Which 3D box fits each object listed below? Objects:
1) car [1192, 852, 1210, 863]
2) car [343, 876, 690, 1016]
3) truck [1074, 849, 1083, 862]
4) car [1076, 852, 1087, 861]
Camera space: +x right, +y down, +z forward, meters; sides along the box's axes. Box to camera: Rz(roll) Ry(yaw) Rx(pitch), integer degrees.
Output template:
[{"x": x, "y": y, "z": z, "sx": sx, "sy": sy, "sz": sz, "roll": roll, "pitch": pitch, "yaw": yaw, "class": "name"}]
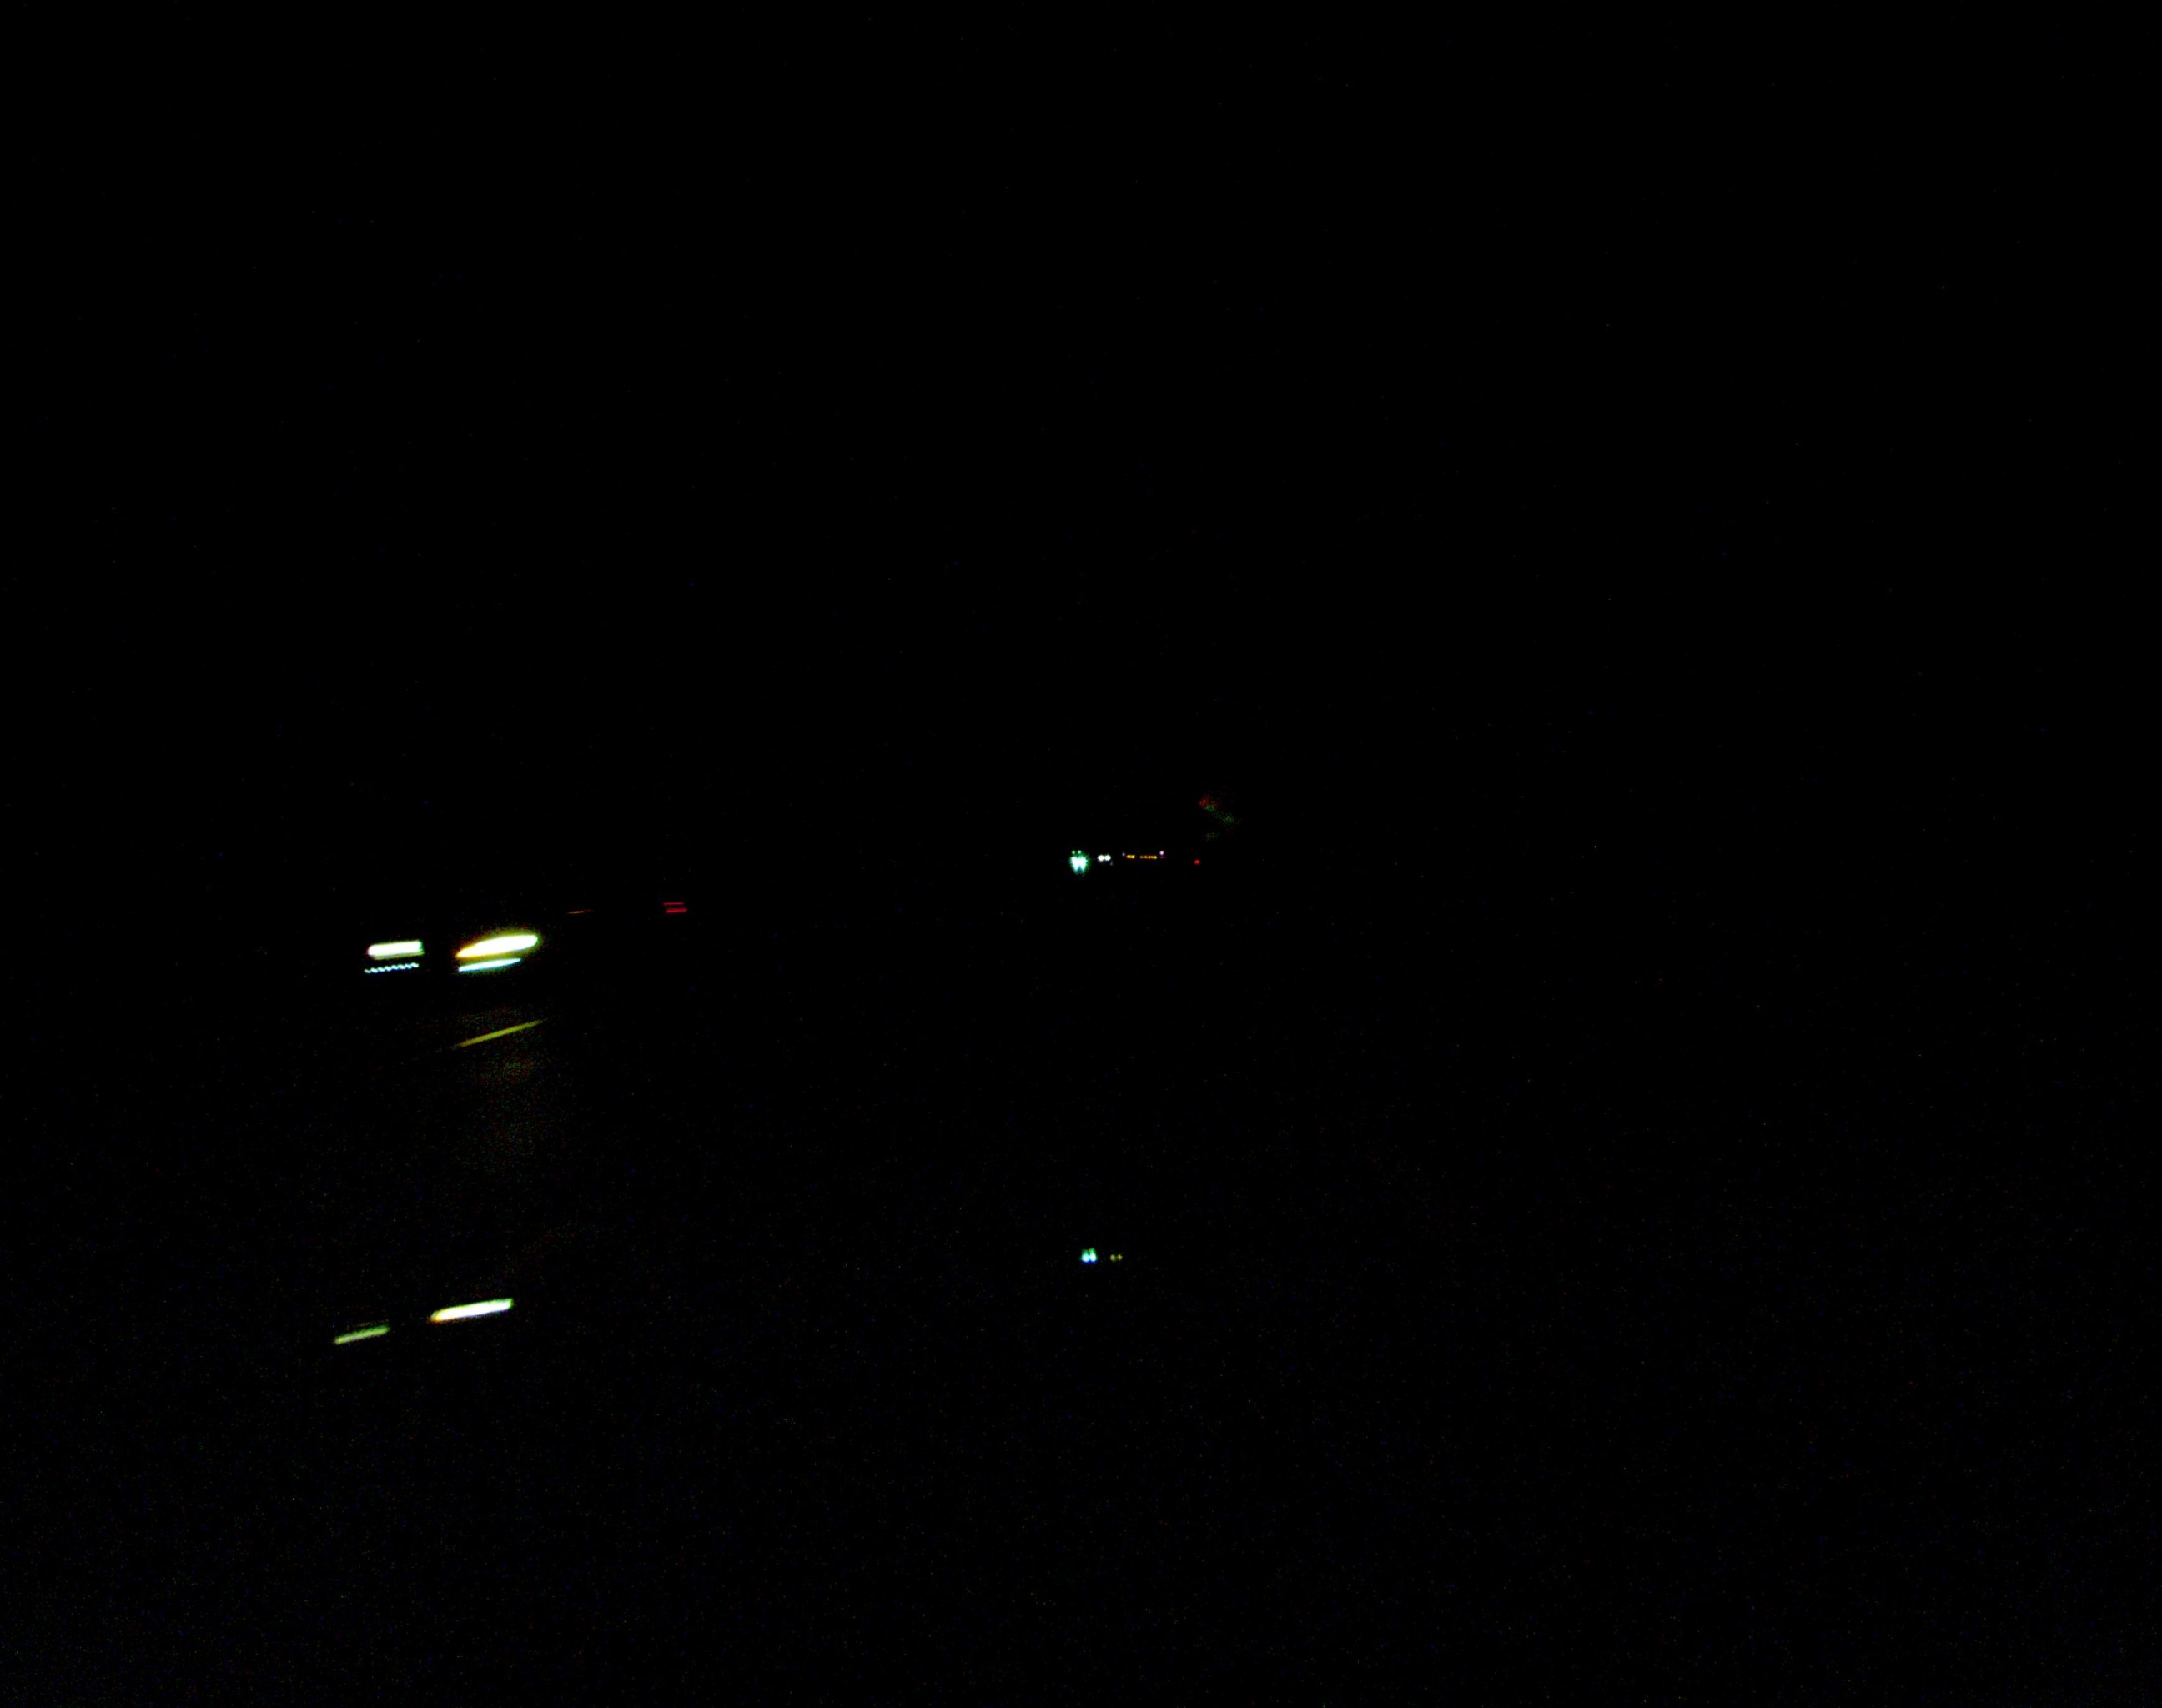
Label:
[{"x": 16.889, "y": 0.476, "z": 107.264, "sx": 1.825, "sy": 1.458, "sz": 4.559, "roll": -2, "pitch": 1, "yaw": 0, "class": "car"}, {"x": -7.889, "y": 1.171, "z": 11.265, "sx": 1.825, "sy": 1.458, "sz": 4.247, "roll": -3, "pitch": 1, "yaw": 1, "class": "car"}, {"x": -0.858, "y": 0.383, "z": 257.938, "sx": 2.749, "sy": 4.182, "sz": 13.508, "roll": -3, "pitch": 1, "yaw": 0, "class": "truck"}, {"x": 0.126, "y": 0.545, "z": 167.126, "sx": 2.267, "sy": 1.842, "sz": 5.403, "roll": -3, "pitch": 1, "yaw": 0, "class": "car"}]
